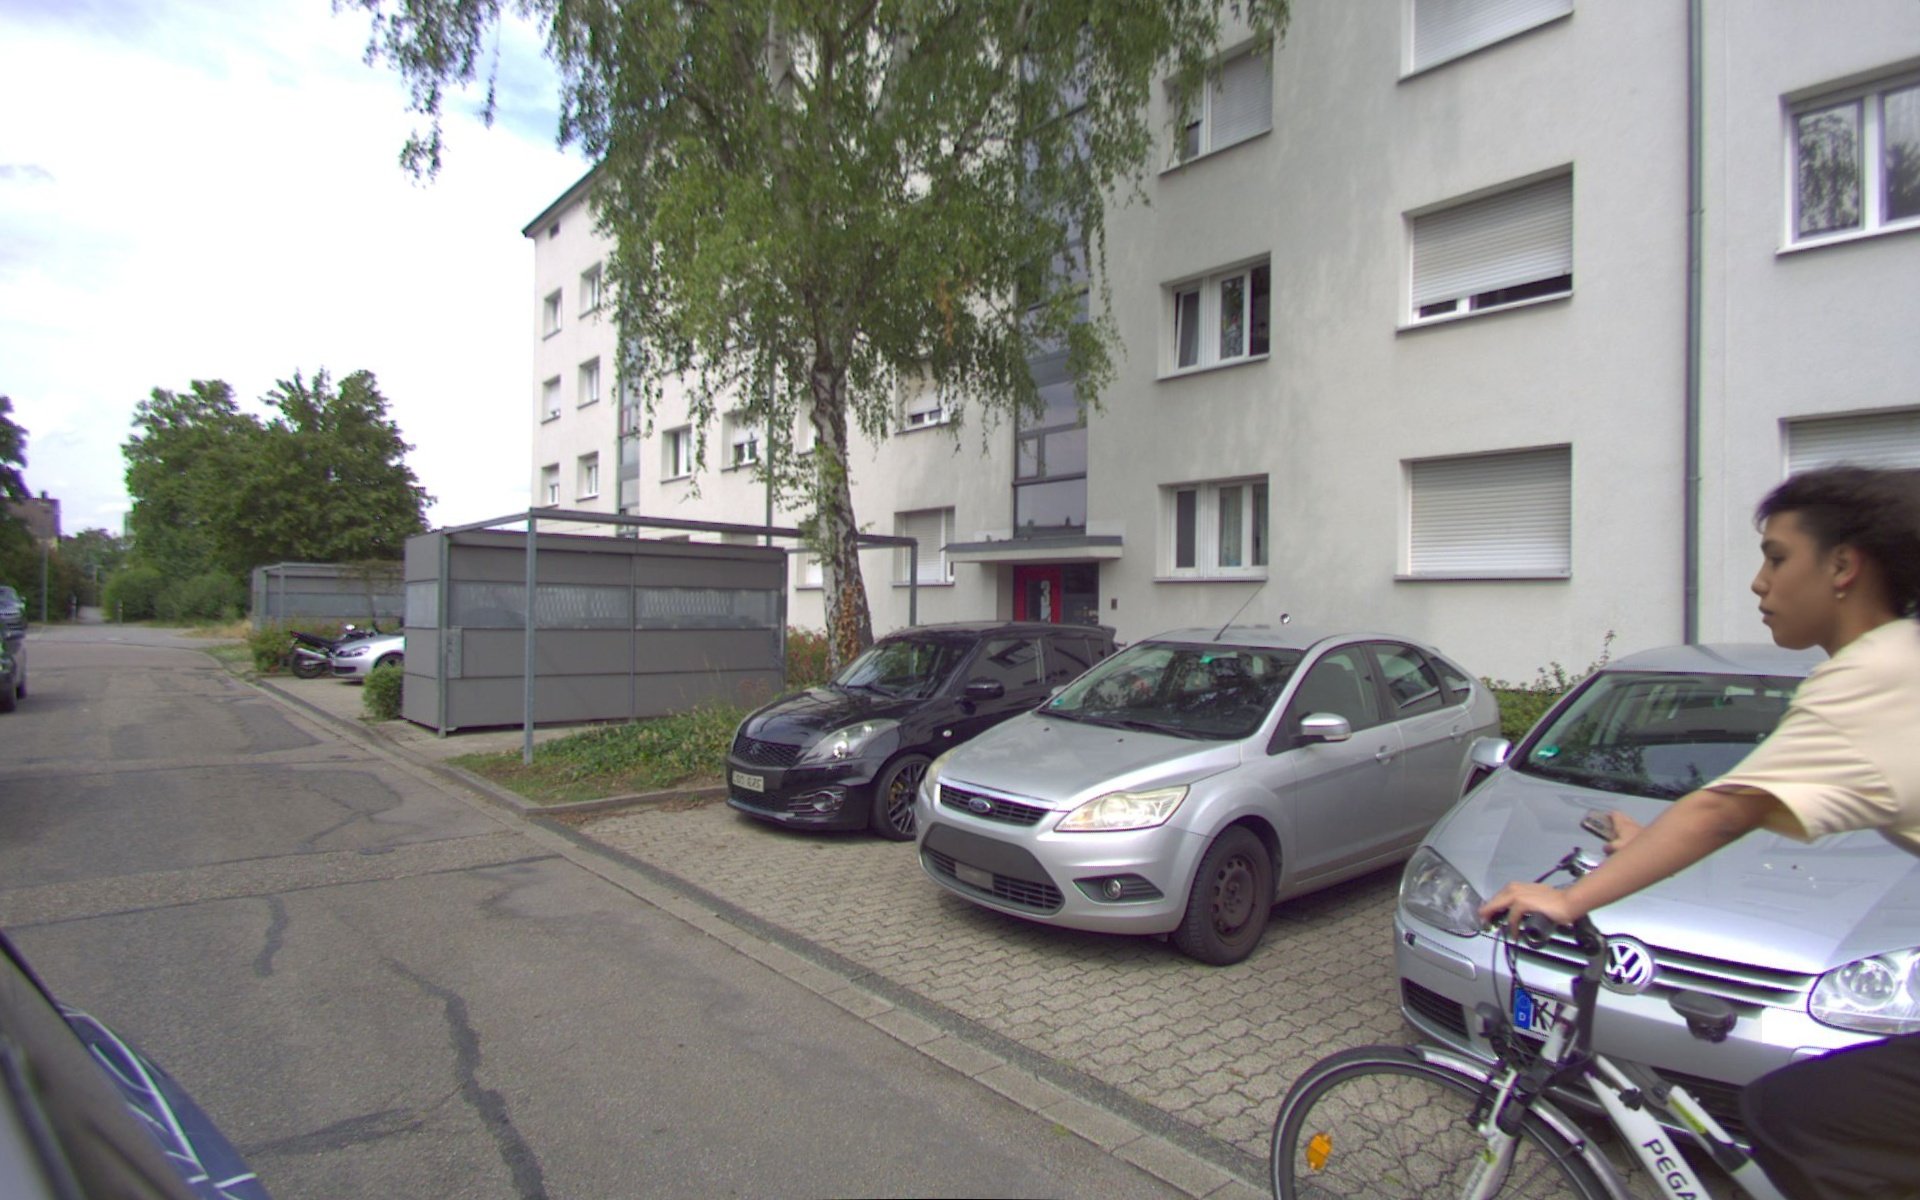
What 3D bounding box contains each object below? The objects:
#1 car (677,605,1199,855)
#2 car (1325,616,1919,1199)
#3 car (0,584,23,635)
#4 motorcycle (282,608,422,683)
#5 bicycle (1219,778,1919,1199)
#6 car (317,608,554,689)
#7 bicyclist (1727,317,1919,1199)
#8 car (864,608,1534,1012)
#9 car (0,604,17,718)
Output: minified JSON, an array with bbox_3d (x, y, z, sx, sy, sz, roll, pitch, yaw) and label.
[{"bbox_3d":[-0.005,0.858,8.192,4.002,1.516,1.784,2,-2,-42],"label":"car"},{"bbox_3d":[3.245,0.849,3.862,4.002,1.475,1.784,2,-2,-42],"label":"car"},{"bbox_3d":[-31.760,0.306,32.874,1.898,1.597,4.004,-1,1,-43],"label":"car"},{"bbox_3d":[-12.657,0.965,21.136,2.348,1.475,0.715,4,-3,-42],"label":"motorcycle"},{"bbox_3d":[1.361,0.926,1.285,0.589,1.084,2.046,3,-2,-40],"label":"bicycle"},{"bbox_3d":[-10.646,1.003,20.677,3.936,1.497,1.906,4,-3,-40],"label":"car"},{"bbox_3d":[1.459,0.475,1.197,0.590,1.593,0.768,3,-2,-40],"label":"bicyclist"},{"bbox_3d":[1.605,0.860,5.844,4.002,1.516,1.784,2,-2,-42],"label":"car"},{"bbox_3d":[-14.354,0.799,14.076,1.808,1.469,4.194,0,0,-43],"label":"car"}]
